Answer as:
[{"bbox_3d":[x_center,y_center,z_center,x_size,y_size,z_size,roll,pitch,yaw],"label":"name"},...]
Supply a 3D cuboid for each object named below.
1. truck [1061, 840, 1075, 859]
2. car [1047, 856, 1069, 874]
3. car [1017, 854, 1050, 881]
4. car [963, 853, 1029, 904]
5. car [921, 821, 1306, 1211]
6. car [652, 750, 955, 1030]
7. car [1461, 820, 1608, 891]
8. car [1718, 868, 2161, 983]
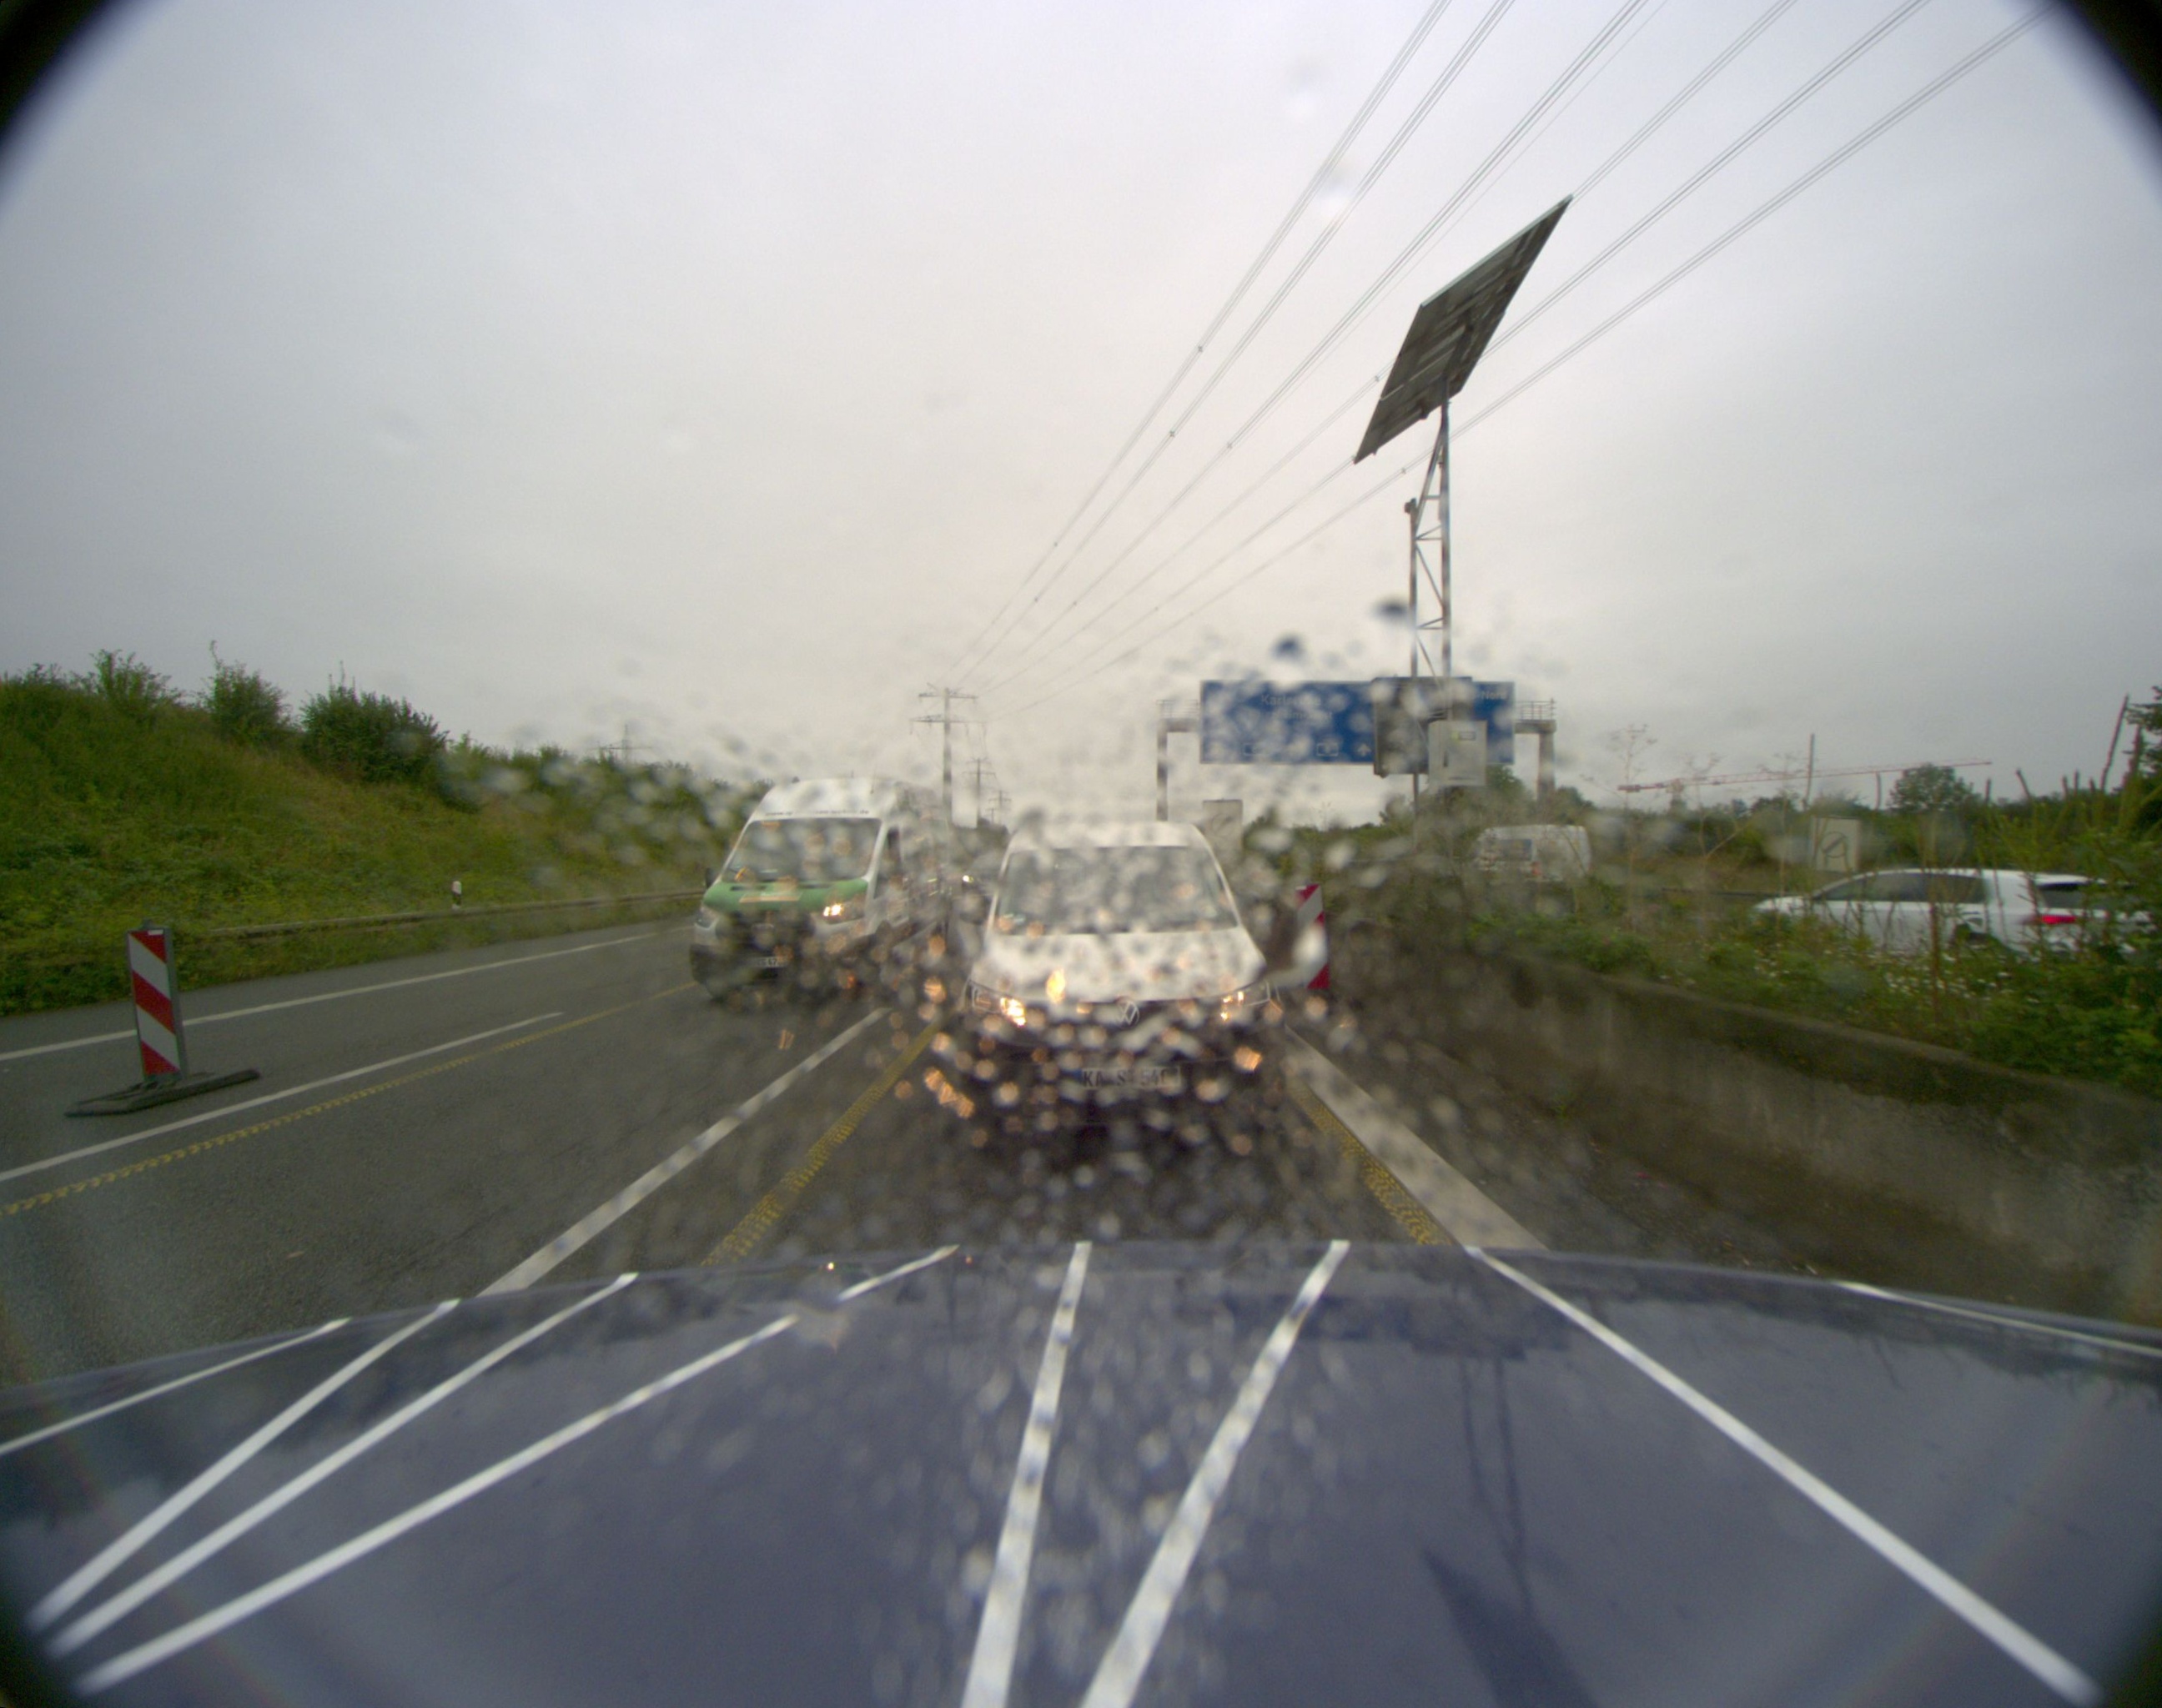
[{"bbox_3d":[-2.887,-0.988,171.672,2.875,4.007,8.308,-1,0,1],"label":"truck"},{"bbox_3d":[-1.938,0.933,64.647,1.804,1.432,4.149,-1,0,-1],"label":"car"},{"bbox_3d":[-2.943,0.808,47.709,1.804,1.523,4.149,-1,0,-1],"label":"car"},{"bbox_3d":[-2.979,0.820,27.513,1.688,1.649,4.281,-1,0,3],"label":"car"},{"bbox_3d":[0.182,0.761,5.751,1.768,1.803,4.345,-1,0,1],"label":"car"},{"bbox_3d":[-3.256,0.352,10.487,1.998,2.766,5.756,-1,0,0],"label":"car"},{"bbox_3d":[15.992,0.033,27.240,2.185,2.252,5.203,-1,0,1],"label":"car"},{"bbox_3d":[11.667,0.857,10.737,1.998,1.184,4.000,-1,0,1],"label":"car"}]
